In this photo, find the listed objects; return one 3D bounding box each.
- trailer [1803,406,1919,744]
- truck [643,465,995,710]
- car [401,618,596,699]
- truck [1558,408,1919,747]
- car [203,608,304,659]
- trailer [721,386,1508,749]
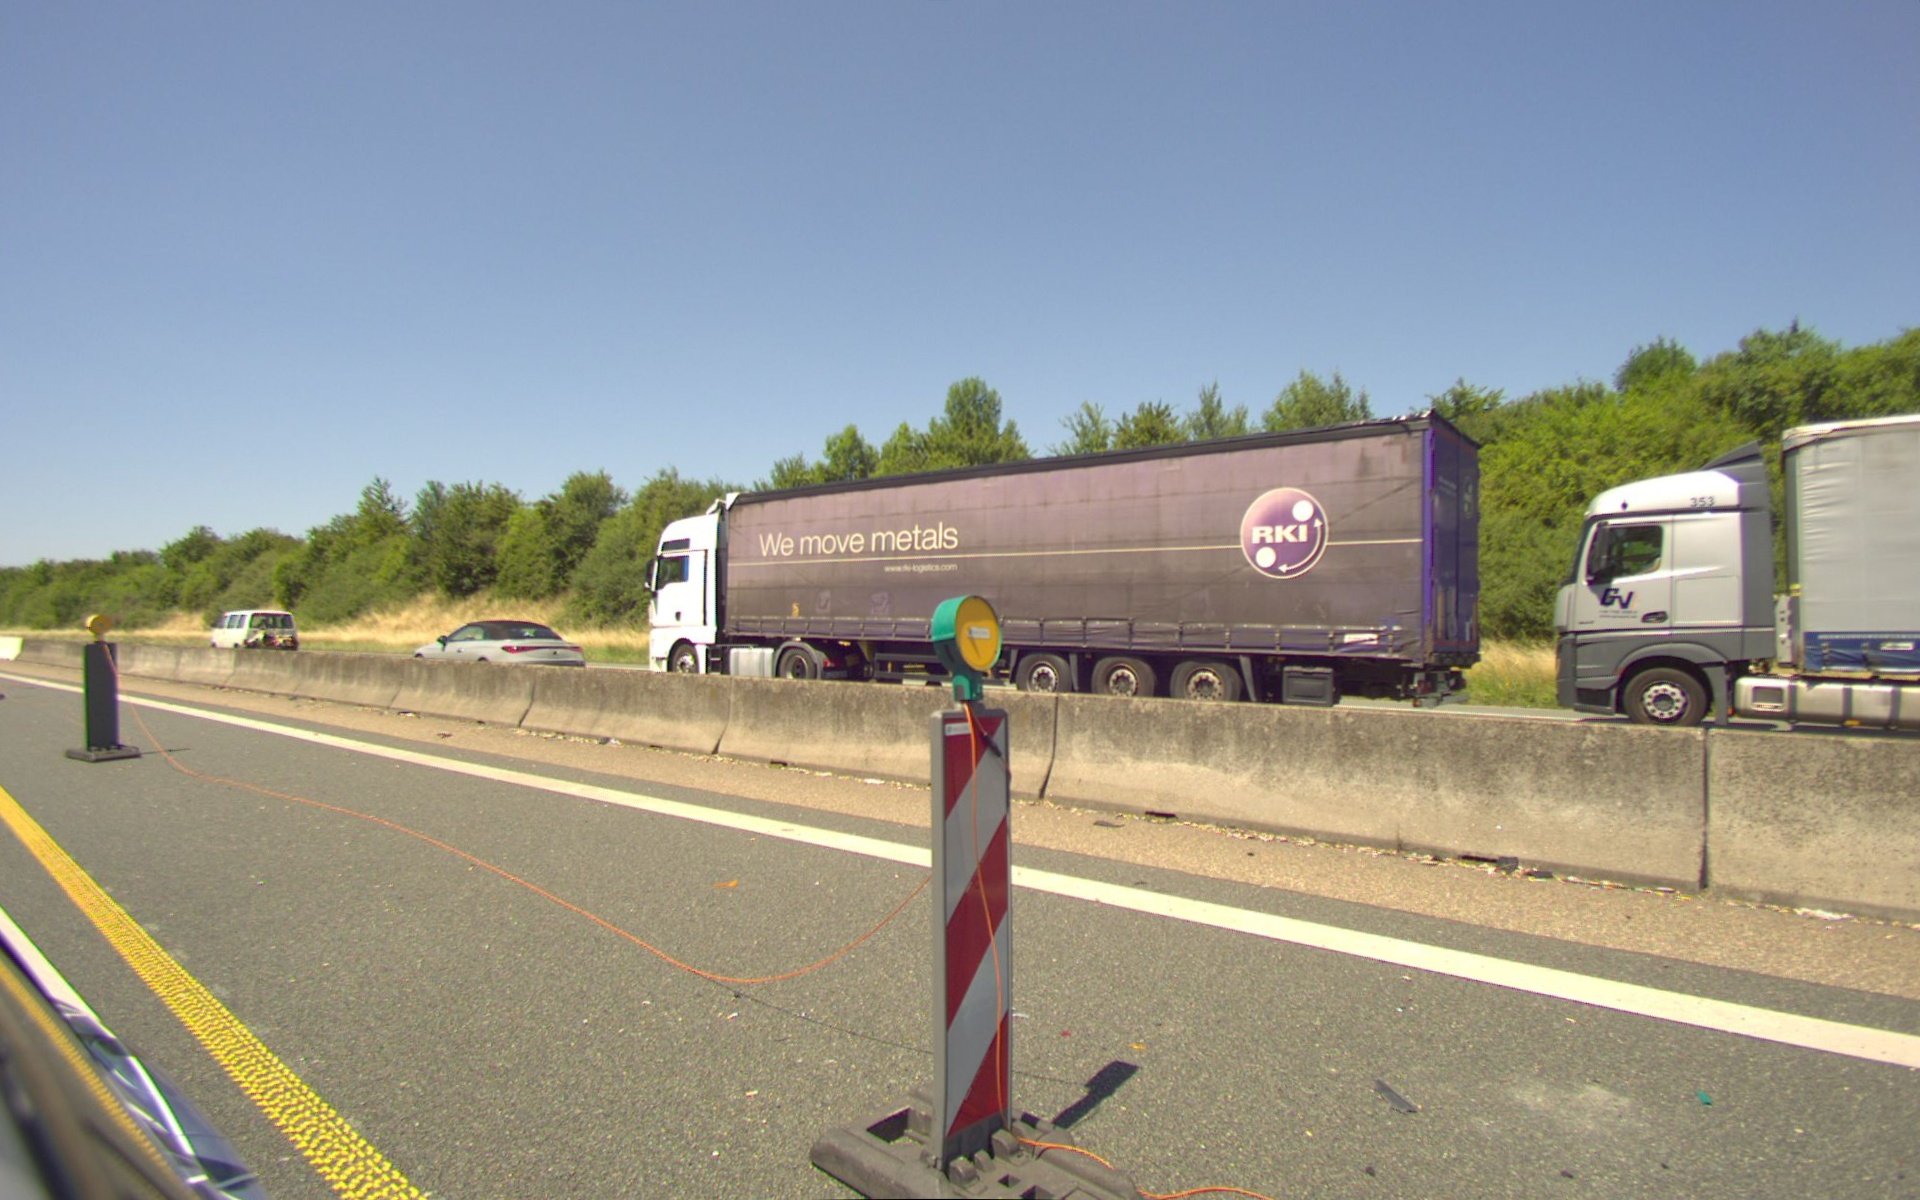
[{"bbox_3d":[17.053,-0.350,9.713,13.622,4.093,2.924,-1,-3,39],"label":"trailer"},{"bbox_3d":[-3.133,-0.127,21.138,7.408,4.257,3.132,-1,-2,40],"label":"truck"},{"bbox_3d":[-9.510,1.137,20.701,4.628,1.482,1.745,-1,-2,39],"label":"car"},{"bbox_3d":[11.599,-0.214,14.153,5.190,4.108,2.917,-1,-3,39],"label":"truck"},{"bbox_3d":[-26.779,1.238,38.281,5.451,1.806,1.847,-1,-2,41],"label":"car"},{"bbox_3d":[1.401,-0.241,17.321,13.672,4.212,3.128,-1,-2,40],"label":"trailer"}]
